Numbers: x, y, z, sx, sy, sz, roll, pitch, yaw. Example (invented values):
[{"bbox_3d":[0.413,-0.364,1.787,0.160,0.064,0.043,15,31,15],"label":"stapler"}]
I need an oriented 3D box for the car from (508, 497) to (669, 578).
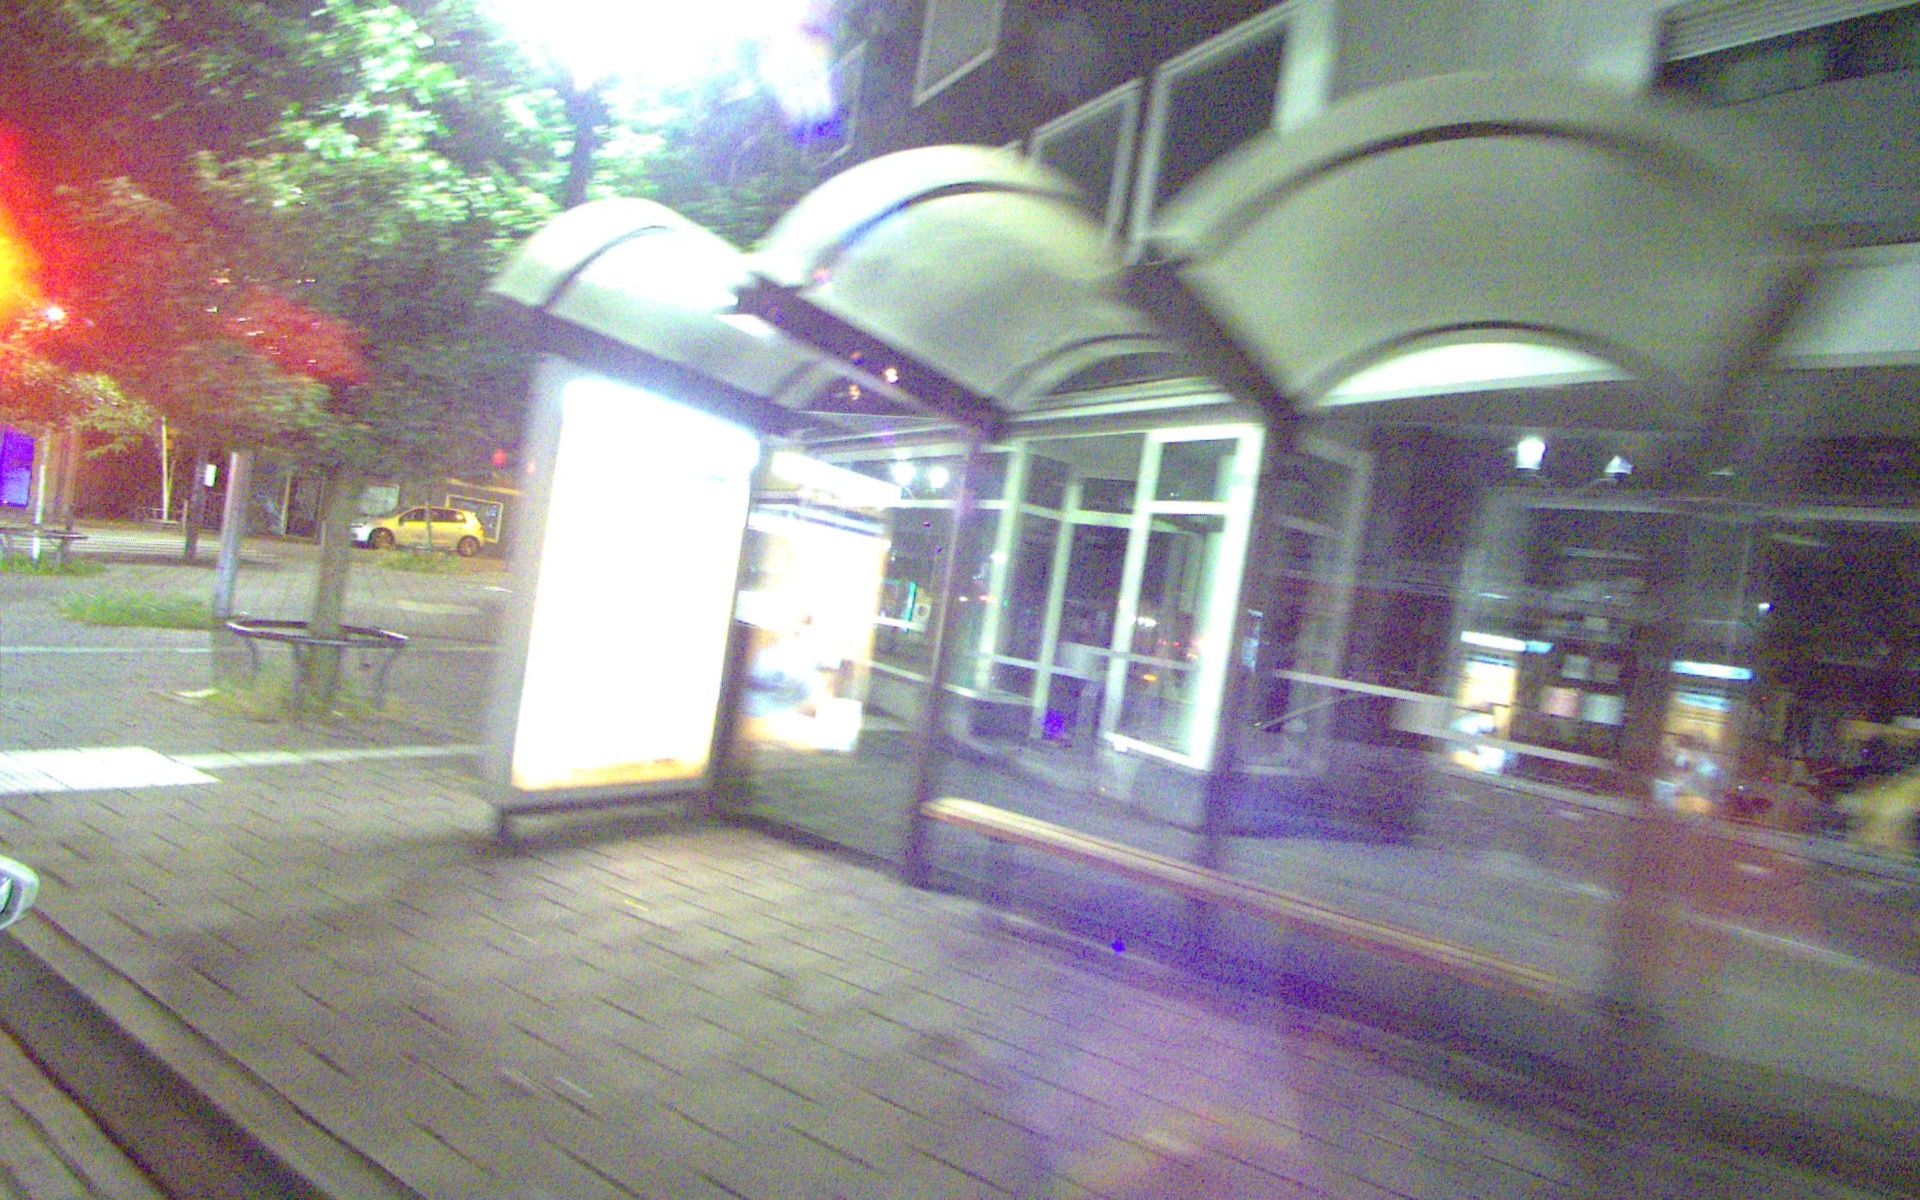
[{"bbox_3d":[-12.507,-2.043,33.964,4.783,1.932,2.148,8,-2,-23],"label":"car"}]

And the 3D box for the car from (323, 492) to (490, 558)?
[{"bbox_3d":[-16.856,-2.258,30.796,1.798,1.472,4.036,8,3,38],"label":"car"}]
